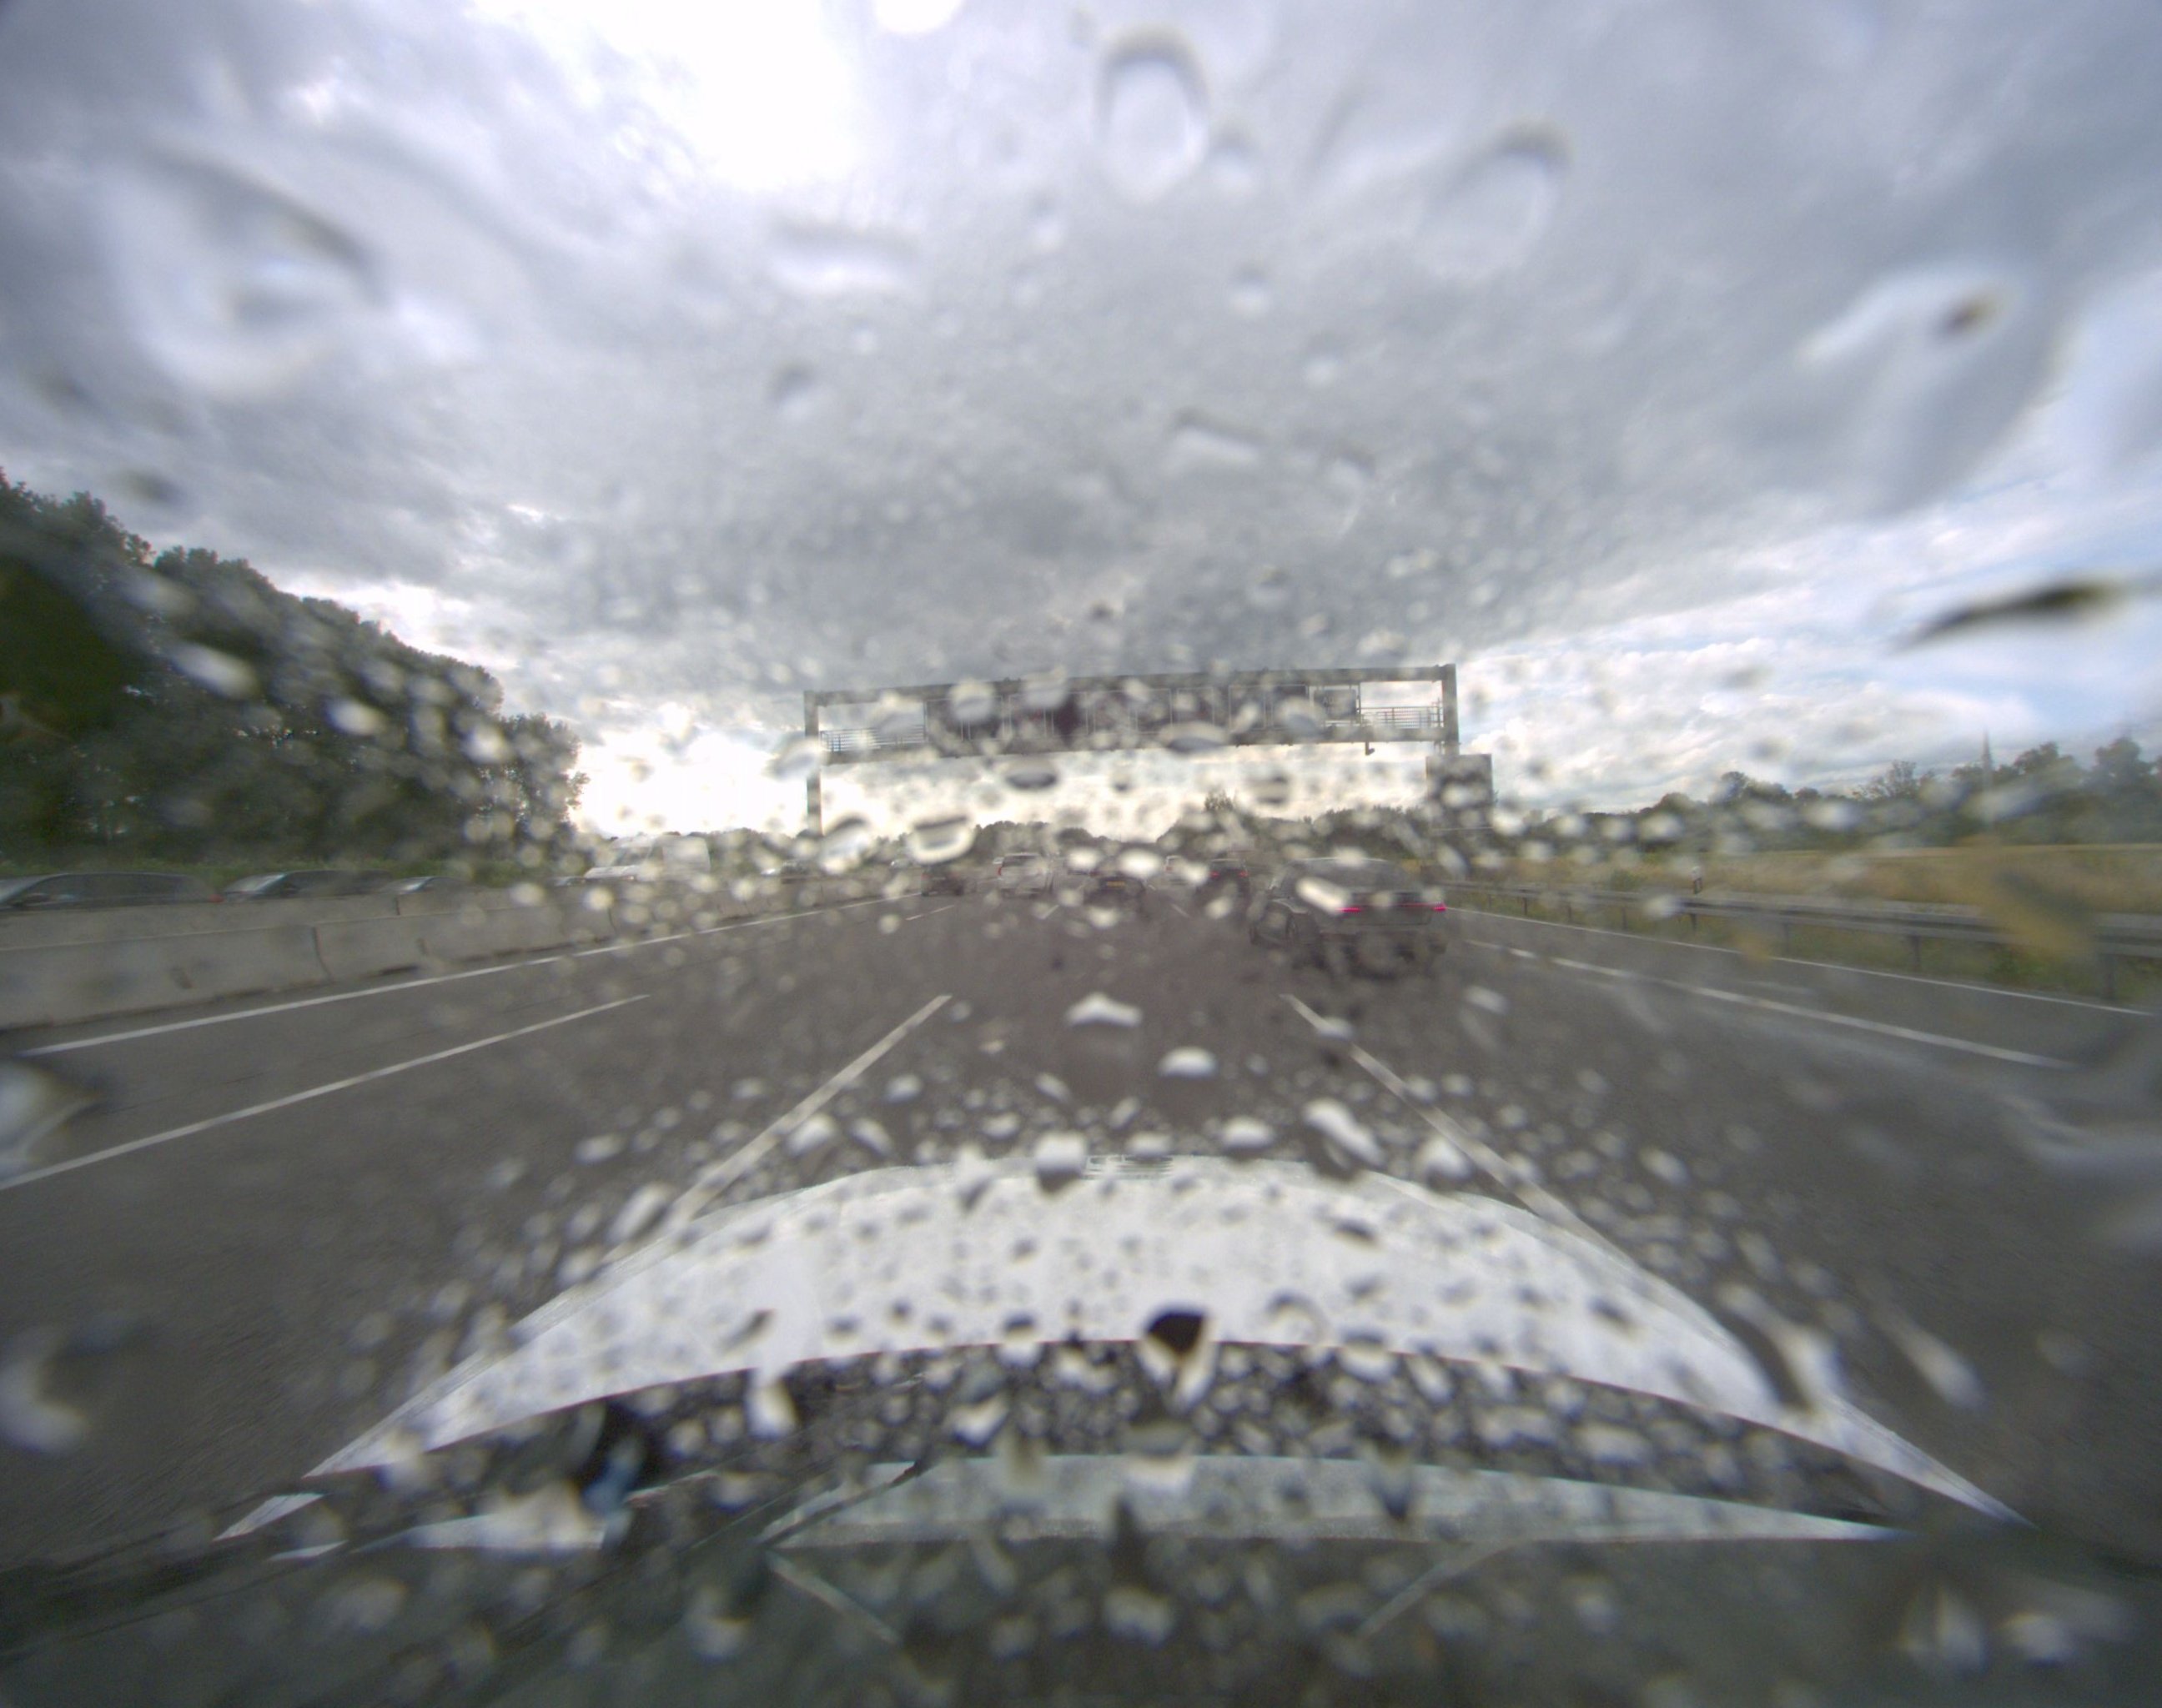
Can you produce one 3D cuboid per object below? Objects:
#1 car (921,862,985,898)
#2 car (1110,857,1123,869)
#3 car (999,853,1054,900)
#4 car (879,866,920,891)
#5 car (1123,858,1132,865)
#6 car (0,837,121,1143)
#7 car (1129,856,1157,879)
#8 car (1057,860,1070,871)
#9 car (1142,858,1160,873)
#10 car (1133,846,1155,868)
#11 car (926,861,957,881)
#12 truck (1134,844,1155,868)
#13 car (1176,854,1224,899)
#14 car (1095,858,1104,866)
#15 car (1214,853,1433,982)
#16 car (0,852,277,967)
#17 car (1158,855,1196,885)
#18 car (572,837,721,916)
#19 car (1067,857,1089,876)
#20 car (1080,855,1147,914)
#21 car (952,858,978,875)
[{"bbox_3d":[-5.567,1.093,35.858,1.772,1.481,4.358,-1,0,5],"label":"car"},{"bbox_3d":[5.260,1.342,119.826,1.874,1.686,4.002,-1,0,2],"label":"car"},{"bbox_3d":[-2.141,0.864,32.959,1.774,1.716,4.354,-1,0,2],"label":"car"},{"bbox_3d":[-14.868,2.004,67.003,1.986,1.885,5.188,-1,0,1],"label":"car"},{"bbox_3d":[11.064,1.727,195.108,1.875,1.686,4.000,-1,0,0],"label":"car"},{"bbox_3d":[-6.961,0.770,2.642,1.808,1.689,4.854,-1,0,2],"label":"car"},{"bbox_3d":[4.849,1.021,63.879,1.875,1.686,4.000,-1,0,0],"label":"car"},{"bbox_3d":[-2.384,1.508,111.314,1.557,1.477,3.921,-1,0,2],"label":"car"},{"bbox_3d":[7.224,1.203,84.561,1.787,1.477,4.042,-1,0,4],"label":"car"},{"bbox_3d":[8.319,0.411,108.532,2.557,2.895,7.537,-1,0,2],"label":"car"},{"bbox_3d":[-13.913,1.694,81.643,1.985,1.898,5.189,-1,0,3],"label":"car"},{"bbox_3d":[10.364,0.318,133.945,3.120,3.709,9.856,-1,0,4],"label":"truck"},{"bbox_3d":[4.692,0.852,32.608,1.698,1.631,4.464,-1,0,6],"label":"car"},{"bbox_3d":[3.670,1.567,160.959,1.874,1.686,4.002,-1,0,2],"label":"car"},{"bbox_3d":[3.254,0.765,12.022,1.932,1.491,4.777,-1,0,2],"label":"car"},{"bbox_3d":[-16.506,0.825,13.726,1.861,1.657,4.002,-1,0,2],"label":"car"},{"bbox_3d":[5.396,0.881,46.336,1.803,1.599,4.699,-1,0,3],"label":"car"},{"bbox_3d":[-16.012,0.779,30.545,1.986,2.616,6.345,-1,0,2],"label":"car"},{"bbox_3d":[-0.262,1.129,76.180,1.874,1.686,4.002,-1,0,2],"label":"car"},{"bbox_3d":[0.891,0.854,24.677,1.775,1.613,4.595,-1,0,-1],"label":"car"},{"bbox_3d":[-13.518,1.409,95.248,1.985,1.853,5.081,-1,0,3],"label":"car"}]
